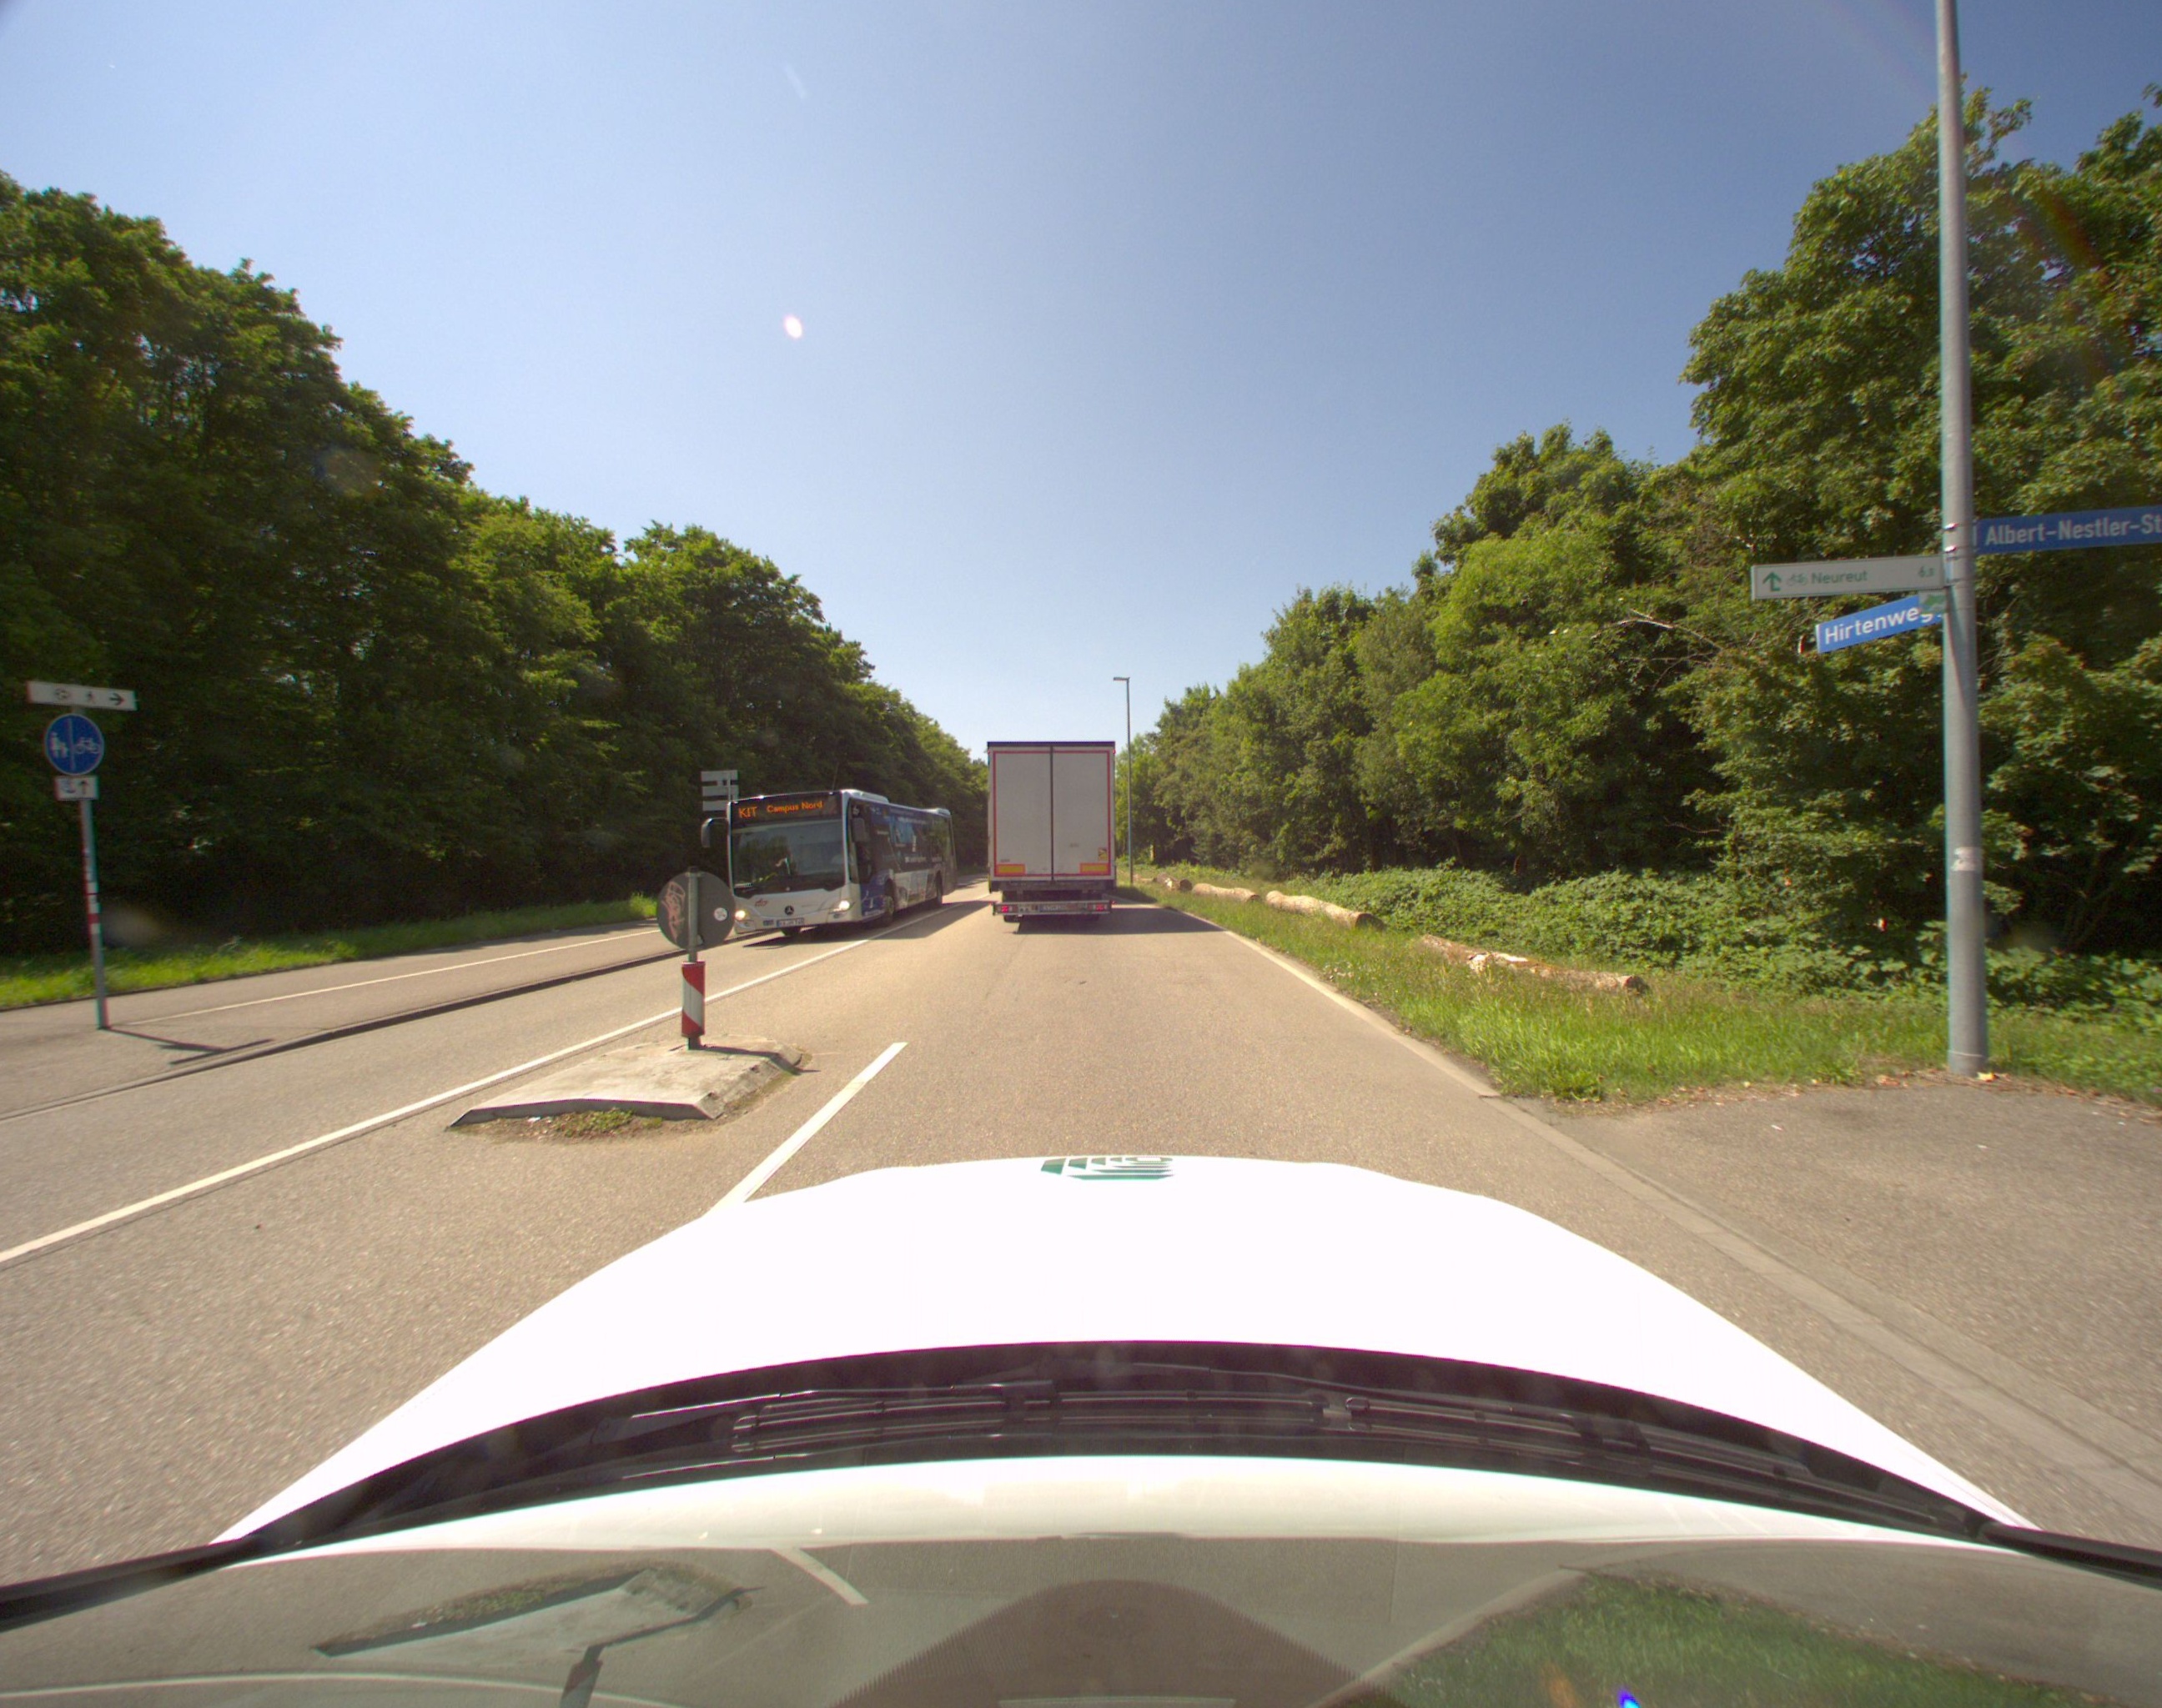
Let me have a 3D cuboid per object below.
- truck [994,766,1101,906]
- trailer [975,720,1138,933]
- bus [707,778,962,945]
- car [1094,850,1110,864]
[{"bbox_3d":[-1.179,-0.571,28.094,3.070,4.069,7.950,-1,0,-3],"label":"truck"},{"bbox_3d":[-0.751,-0.549,20.709,3.071,4.069,9.796,-1,0,-3],"label":"trailer"},{"bbox_3d":[-5.633,0.097,21.668,2.740,3.045,11.941,-4,0,1],"label":"bus"},{"bbox_3d":[2.359,0.300,92.606,1.705,1.530,3.851,-1,0,1],"label":"car"}]
